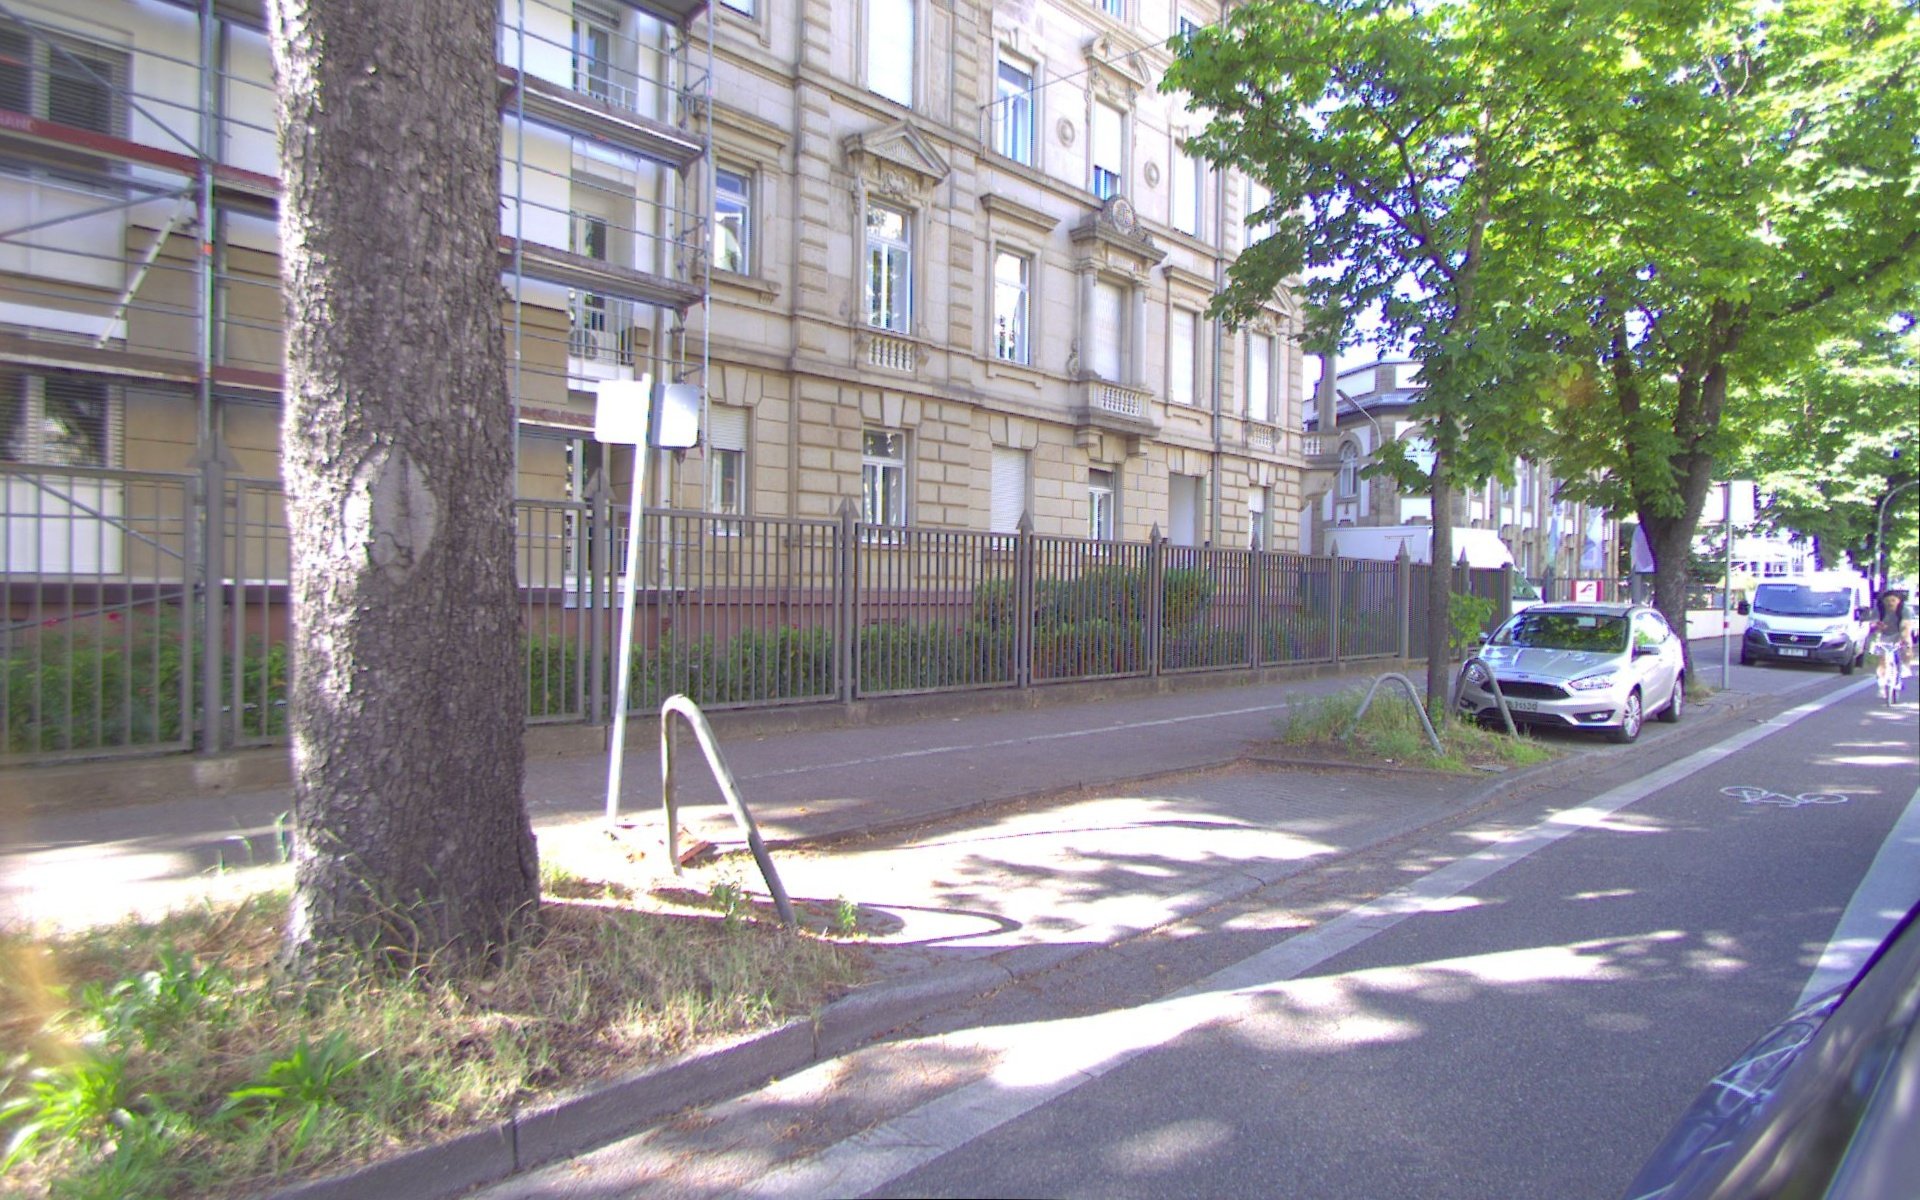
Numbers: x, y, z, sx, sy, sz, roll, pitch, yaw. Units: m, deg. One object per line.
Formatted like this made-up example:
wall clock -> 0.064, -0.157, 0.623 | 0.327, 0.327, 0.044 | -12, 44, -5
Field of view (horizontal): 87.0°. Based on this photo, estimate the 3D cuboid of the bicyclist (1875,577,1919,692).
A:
bicyclist -> 14.254, 0.498, 15.280 | 0.862, 1.691, 0.532 | -1, 0, -40

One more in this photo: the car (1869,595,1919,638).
car -> 37.511, 0.614, 40.156 | 4.035, 1.569, 1.863 | -1, 1, -44

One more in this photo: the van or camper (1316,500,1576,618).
van or camper -> 12.325, -0.967, 26.446 | 2.078, 2.660, 6.752 | 0, 1, -17

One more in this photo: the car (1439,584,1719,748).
car -> 7.659, 0.634, 12.341 | 4.294, 1.562, 1.874 | -1, 3, -44

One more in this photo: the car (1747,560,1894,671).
car -> 21.054, 0.261, 24.670 | 5.710, 2.371, 2.129 | -1, 3, -44

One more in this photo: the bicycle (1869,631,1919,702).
bicycle -> 14.298, 0.971, 15.312 | 2.021, 0.933, 0.535 | -1, 0, -40
